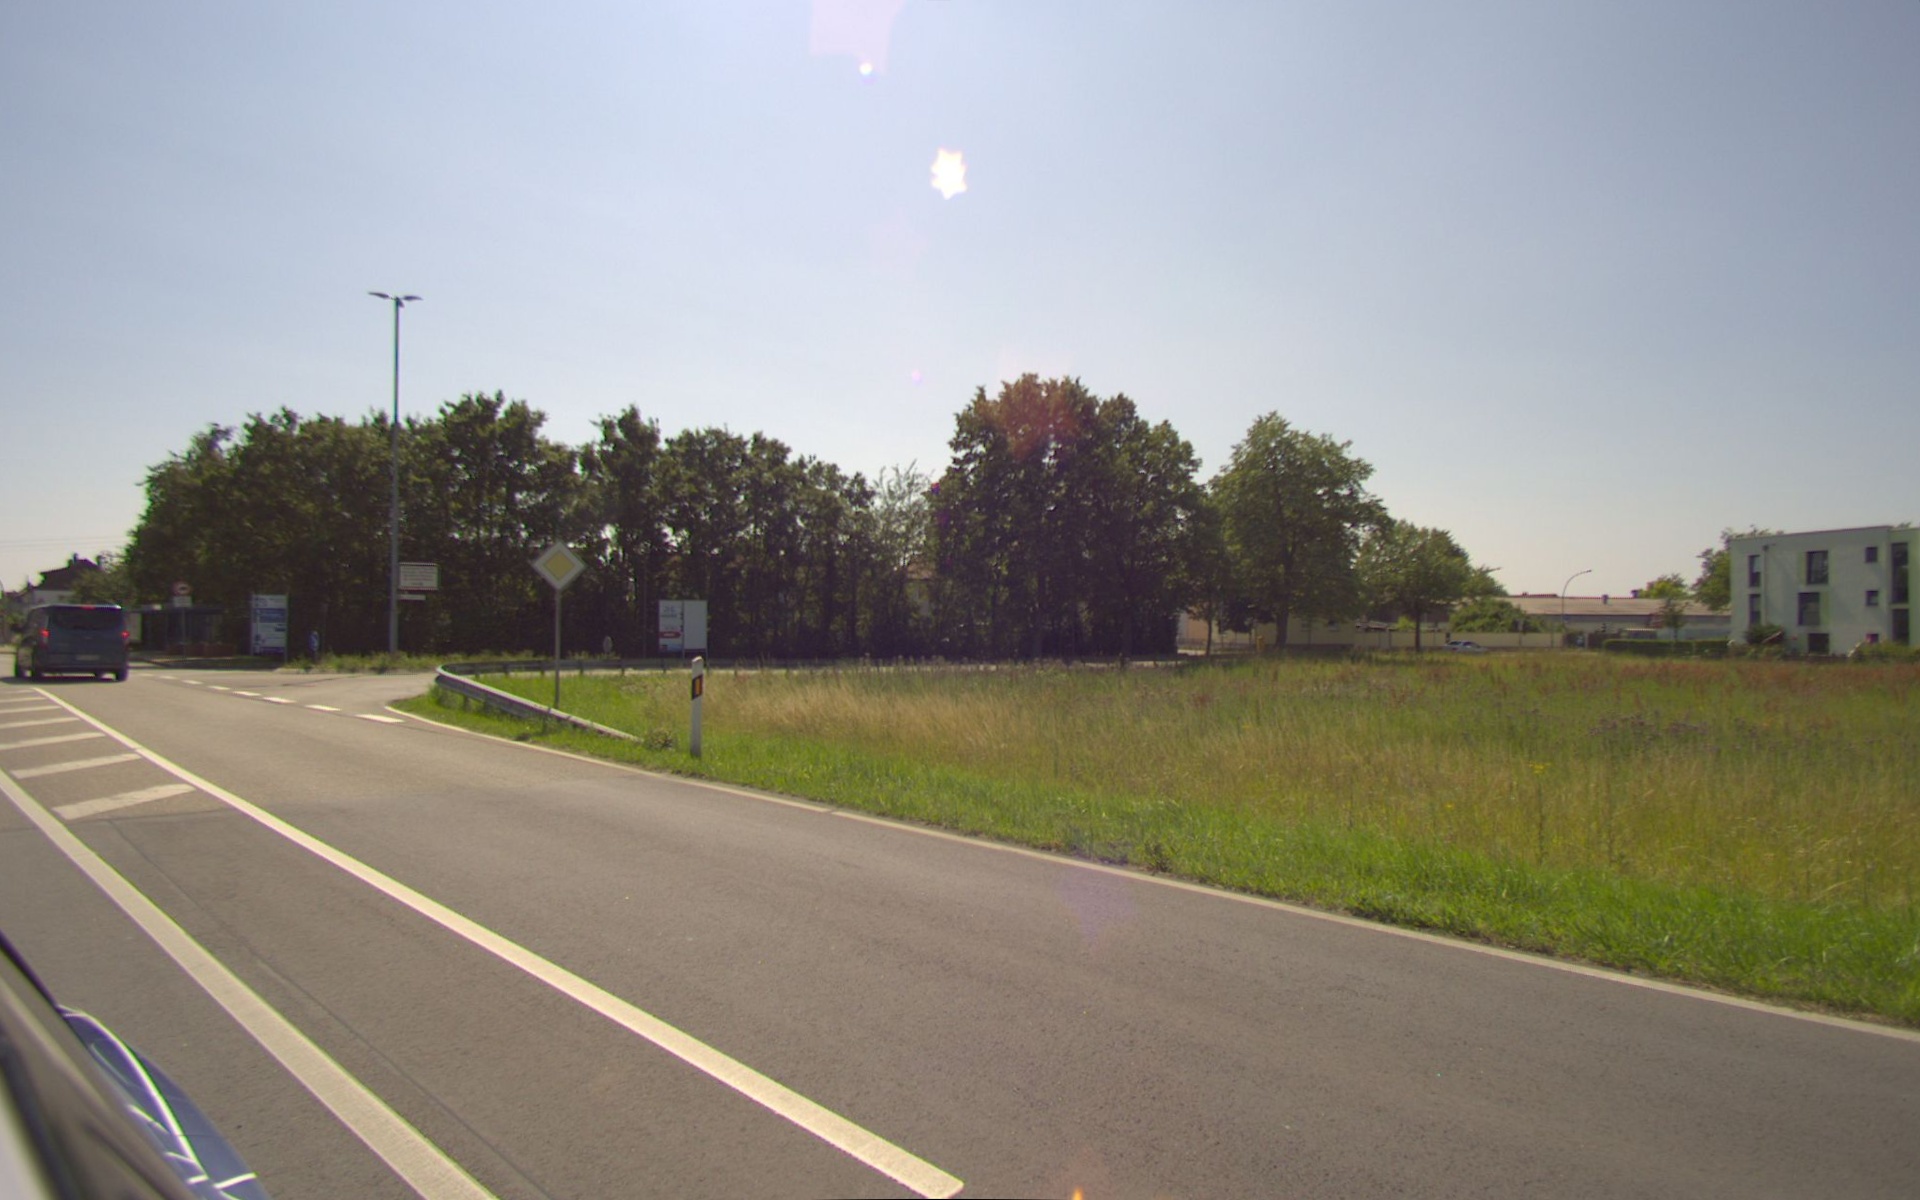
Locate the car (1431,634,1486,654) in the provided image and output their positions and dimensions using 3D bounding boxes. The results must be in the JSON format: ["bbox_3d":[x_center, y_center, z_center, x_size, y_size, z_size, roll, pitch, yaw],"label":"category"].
[{"bbox_3d":[38.822,3.415,78.820,4.339,1.482,1.646,0,-1,-29],"label":"car"}]

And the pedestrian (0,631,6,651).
[{"bbox_3d":[-76.550,3.269,80.723,0.688,1.620,0.607,-2,0,44],"label":"pedestrian"}]

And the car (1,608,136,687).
[{"bbox_3d":[-24.339,1.275,27.563,5.246,1.966,2.121,-2,-3,42],"label":"car"}]
